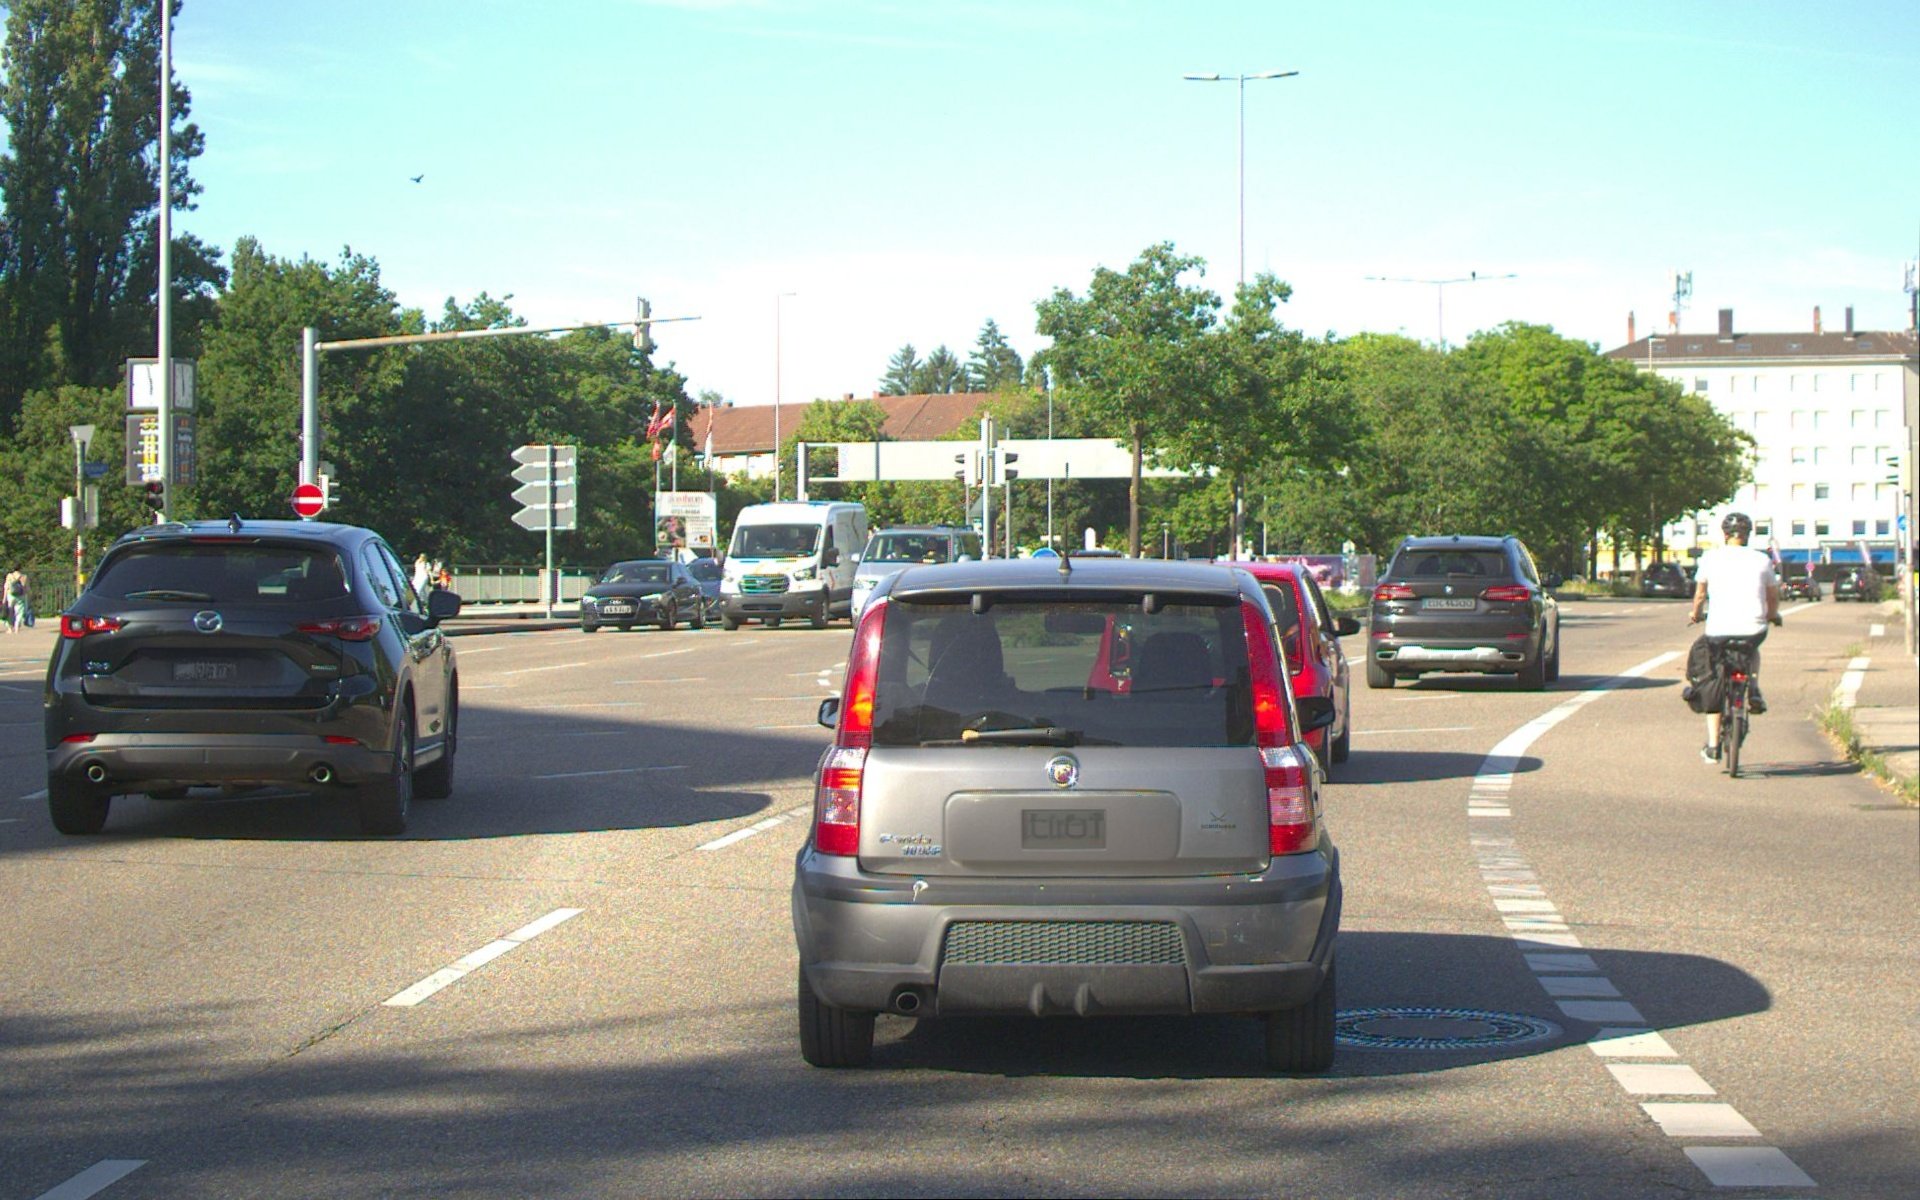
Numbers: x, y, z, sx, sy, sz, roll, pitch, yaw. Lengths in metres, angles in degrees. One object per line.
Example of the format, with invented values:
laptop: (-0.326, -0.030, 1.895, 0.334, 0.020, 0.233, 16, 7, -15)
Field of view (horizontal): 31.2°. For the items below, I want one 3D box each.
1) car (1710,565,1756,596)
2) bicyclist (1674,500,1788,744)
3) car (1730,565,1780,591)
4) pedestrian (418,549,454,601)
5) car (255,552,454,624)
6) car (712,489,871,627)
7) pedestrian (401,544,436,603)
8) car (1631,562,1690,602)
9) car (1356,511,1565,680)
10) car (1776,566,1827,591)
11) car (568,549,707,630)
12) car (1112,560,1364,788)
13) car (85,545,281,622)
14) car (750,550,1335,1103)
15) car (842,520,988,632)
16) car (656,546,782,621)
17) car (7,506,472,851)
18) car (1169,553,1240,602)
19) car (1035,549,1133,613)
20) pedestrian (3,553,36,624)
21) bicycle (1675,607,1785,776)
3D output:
car: (39.761, -1.009, 176.841, 1.947, 1.523, 4.094, 0, 1, 17)
bicyclist: (5.413, 0.143, 24.115, 0.724, 1.654, 1.112, 1, 1, 13)
car: (45.945, -1.278, 198.678, 1.948, 1.523, 4.092, 1, 1, 26)
pedestrian: (-15.323, -0.730, 100.575, 0.671, 1.498, 0.778, 1, -1, 28)
car: (-13.574, -0.290, 77.269, 1.783, 1.530, 4.319, 2, 2, 38)
car: (-3.236, -0.832, 67.428, 1.937, 2.567, 6.086, 0, 1, 9)
pedestrian: (-15.232, -0.748, 96.734, 0.720, 1.636, 0.672, 1, -1, 14)
car: (27.729, -0.722, 136.013, 1.947, 1.523, 4.094, 0, 1, 16)
car: (5.837, -0.057, 39.728, 1.946, 1.834, 4.150, 0, 0, 14)
car: (52.042, -1.332, 212.617, 1.948, 1.523, 4.090, 1, 1, 31)
car: (-6.341, -0.234, 67.966, 1.937, 1.502, 3.999, -1, 1, 6)
car: (1.973, 0.456, 24.192, 1.618, 1.458, 3.750, 1, 1, 5)
car: (-17.762, -0.371, 78.702, 1.899, 1.620, 3.990, 1, -1, 40)
car: (0.396, 0.601, 11.488, 1.618, 1.510, 3.819, 1, 1, 5)
car: (-0.793, -0.459, 64.096, 1.937, 2.001, 4.930, 0, 1, 9)
car: (-5.215, -0.391, 74.963, 1.811, 1.536, 4.615, -1, 1, 8)
car: (-3.872, 0.368, 19.154, 1.874, 1.703, 4.197, 0, 1, -2)
car: (8.321, -0.771, 116.547, 1.937, 1.617, 4.504, 0, 1, 10)
car: (3.278, -0.520, 90.039, 1.937, 1.617, 4.504, 0, 1, 10)
pedestrian: (-20.579, -0.253, 75.216, 0.556, 1.542, 0.576, -1, -1, -27)
bicycle: (5.399, 0.616, 24.070, 0.691, 1.098, 1.825, 1, 1, 13)
